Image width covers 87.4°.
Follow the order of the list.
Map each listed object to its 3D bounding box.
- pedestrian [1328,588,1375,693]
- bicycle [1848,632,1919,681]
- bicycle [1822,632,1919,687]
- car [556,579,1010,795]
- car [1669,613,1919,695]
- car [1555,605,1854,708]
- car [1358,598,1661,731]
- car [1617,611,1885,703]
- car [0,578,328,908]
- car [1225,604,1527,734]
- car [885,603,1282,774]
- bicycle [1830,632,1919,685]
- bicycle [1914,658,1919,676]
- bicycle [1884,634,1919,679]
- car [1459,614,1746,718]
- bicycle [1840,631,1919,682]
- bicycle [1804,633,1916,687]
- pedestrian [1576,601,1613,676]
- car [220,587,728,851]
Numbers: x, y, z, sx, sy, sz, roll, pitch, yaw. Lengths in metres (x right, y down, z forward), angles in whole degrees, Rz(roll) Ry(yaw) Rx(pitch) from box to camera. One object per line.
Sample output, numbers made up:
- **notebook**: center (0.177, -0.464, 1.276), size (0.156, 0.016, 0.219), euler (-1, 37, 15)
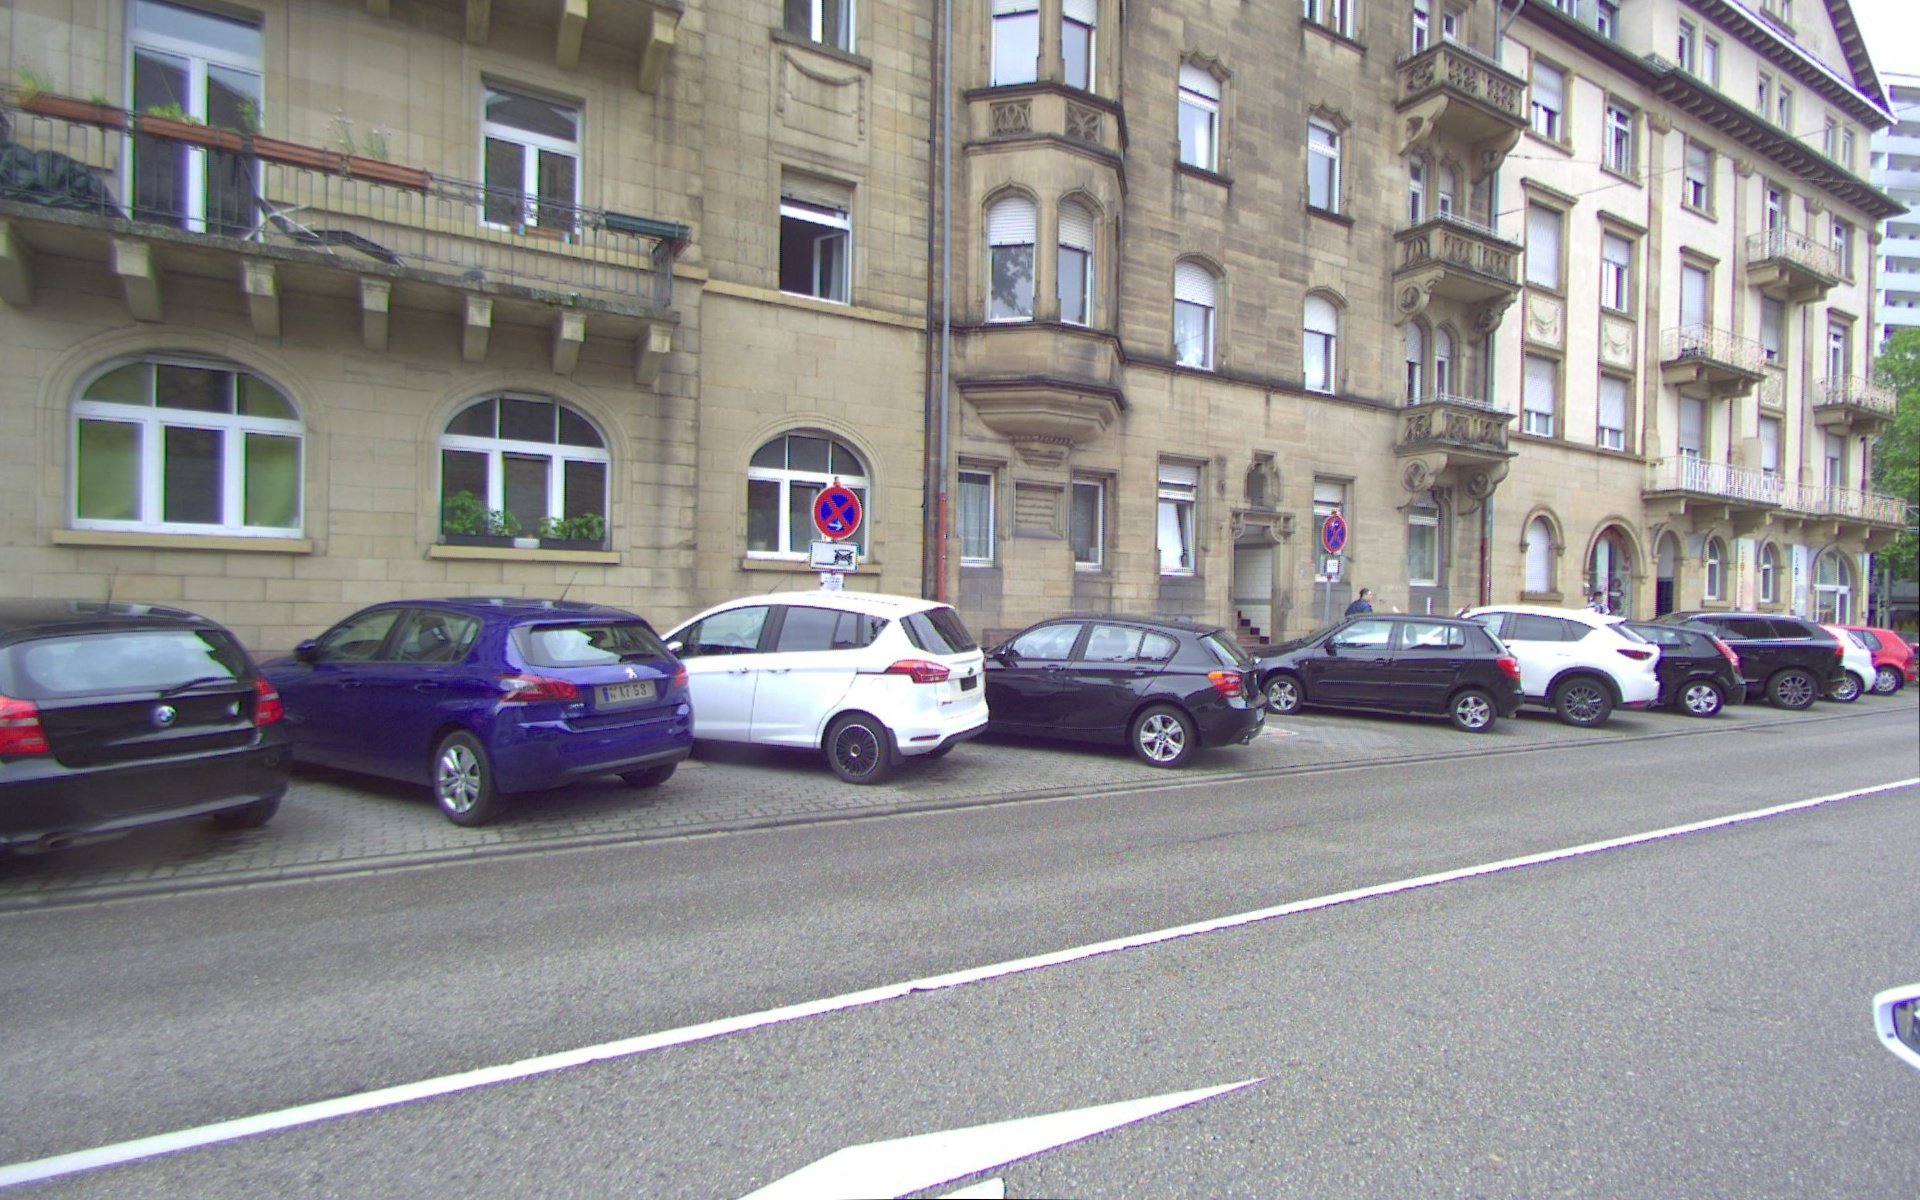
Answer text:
- **pedestrian**: center (7.583, 0.768, 19.454), size (0.544, 1.984, 0.616), euler (1, 0, -29)
- **bicycle**: center (23.574, 1.432, 25.150), size (0.437, 1.050, 1.876), euler (0, 6, -31)
- **bicycle**: center (22.048, 1.417, 24.166), size (0.437, 1.050, 1.876), euler (0, 6, -31)
- **car**: center (-1.683, 0.677, 9.576), size (3.922, 1.575, 1.702), euler (3, 2, 22)
- **car**: center (18.303, 1.142, 22.183), size (3.919, 1.492, 1.684), euler (2, 2, 12)
- **car**: center (13.830, 0.998, 18.958), size (4.141, 1.674, 1.732), euler (2, 0, 18)
- **car**: center (8.533, 0.897, 15.708), size (3.935, 1.746, 1.835), euler (2, 0, 36)
- **car**: center (16.006, 1.102, 20.564), size (3.920, 1.492, 1.564), euler (3, 2, 18)
- **car**: center (-6.026, 0.658, 6.345), size (3.927, 1.457, 1.730), euler (3, 2, 28)
- **car**: center (5.853, 0.903, 14.418), size (3.738, 1.517, 1.569), euler (3, 1, 22)
- **car**: center (1.326, 0.837, 10.924), size (3.924, 1.436, 1.660), euler (2, 1, 25)
- **bicycle**: center (22.497, 1.410, 24.448), size (0.437, 1.050, 1.876), euler (0, 6, -31)
- **bicycle**: center (25.347, 1.803, 25.172), size (1.017, 0.451, 1.876), euler (-1, 6, -31)
- **bicycle**: center (24.310, 1.481, 24.934), size (0.437, 1.050, 1.876), euler (0, 6, -31)
- **car**: center (10.919, 1.070, 17.427), size (3.923, 1.514, 1.731), euler (2, 0, 23)
- **bicycle**: center (23.051, 1.402, 24.798), size (0.437, 1.050, 1.876), euler (0, 6, -31)
- **bicycle**: center (21.311, 1.400, 23.833), size (0.436, 1.050, 1.879), euler (1, 4, -26)
- **pedestrian**: center (15.602, 0.942, 24.697), size (0.544, 1.809, 0.564), euler (1, 0, -29)
- **car**: center (-3.842, 0.711, 7.857), size (3.682, 1.465, 1.820), euler (3, 2, 30)
